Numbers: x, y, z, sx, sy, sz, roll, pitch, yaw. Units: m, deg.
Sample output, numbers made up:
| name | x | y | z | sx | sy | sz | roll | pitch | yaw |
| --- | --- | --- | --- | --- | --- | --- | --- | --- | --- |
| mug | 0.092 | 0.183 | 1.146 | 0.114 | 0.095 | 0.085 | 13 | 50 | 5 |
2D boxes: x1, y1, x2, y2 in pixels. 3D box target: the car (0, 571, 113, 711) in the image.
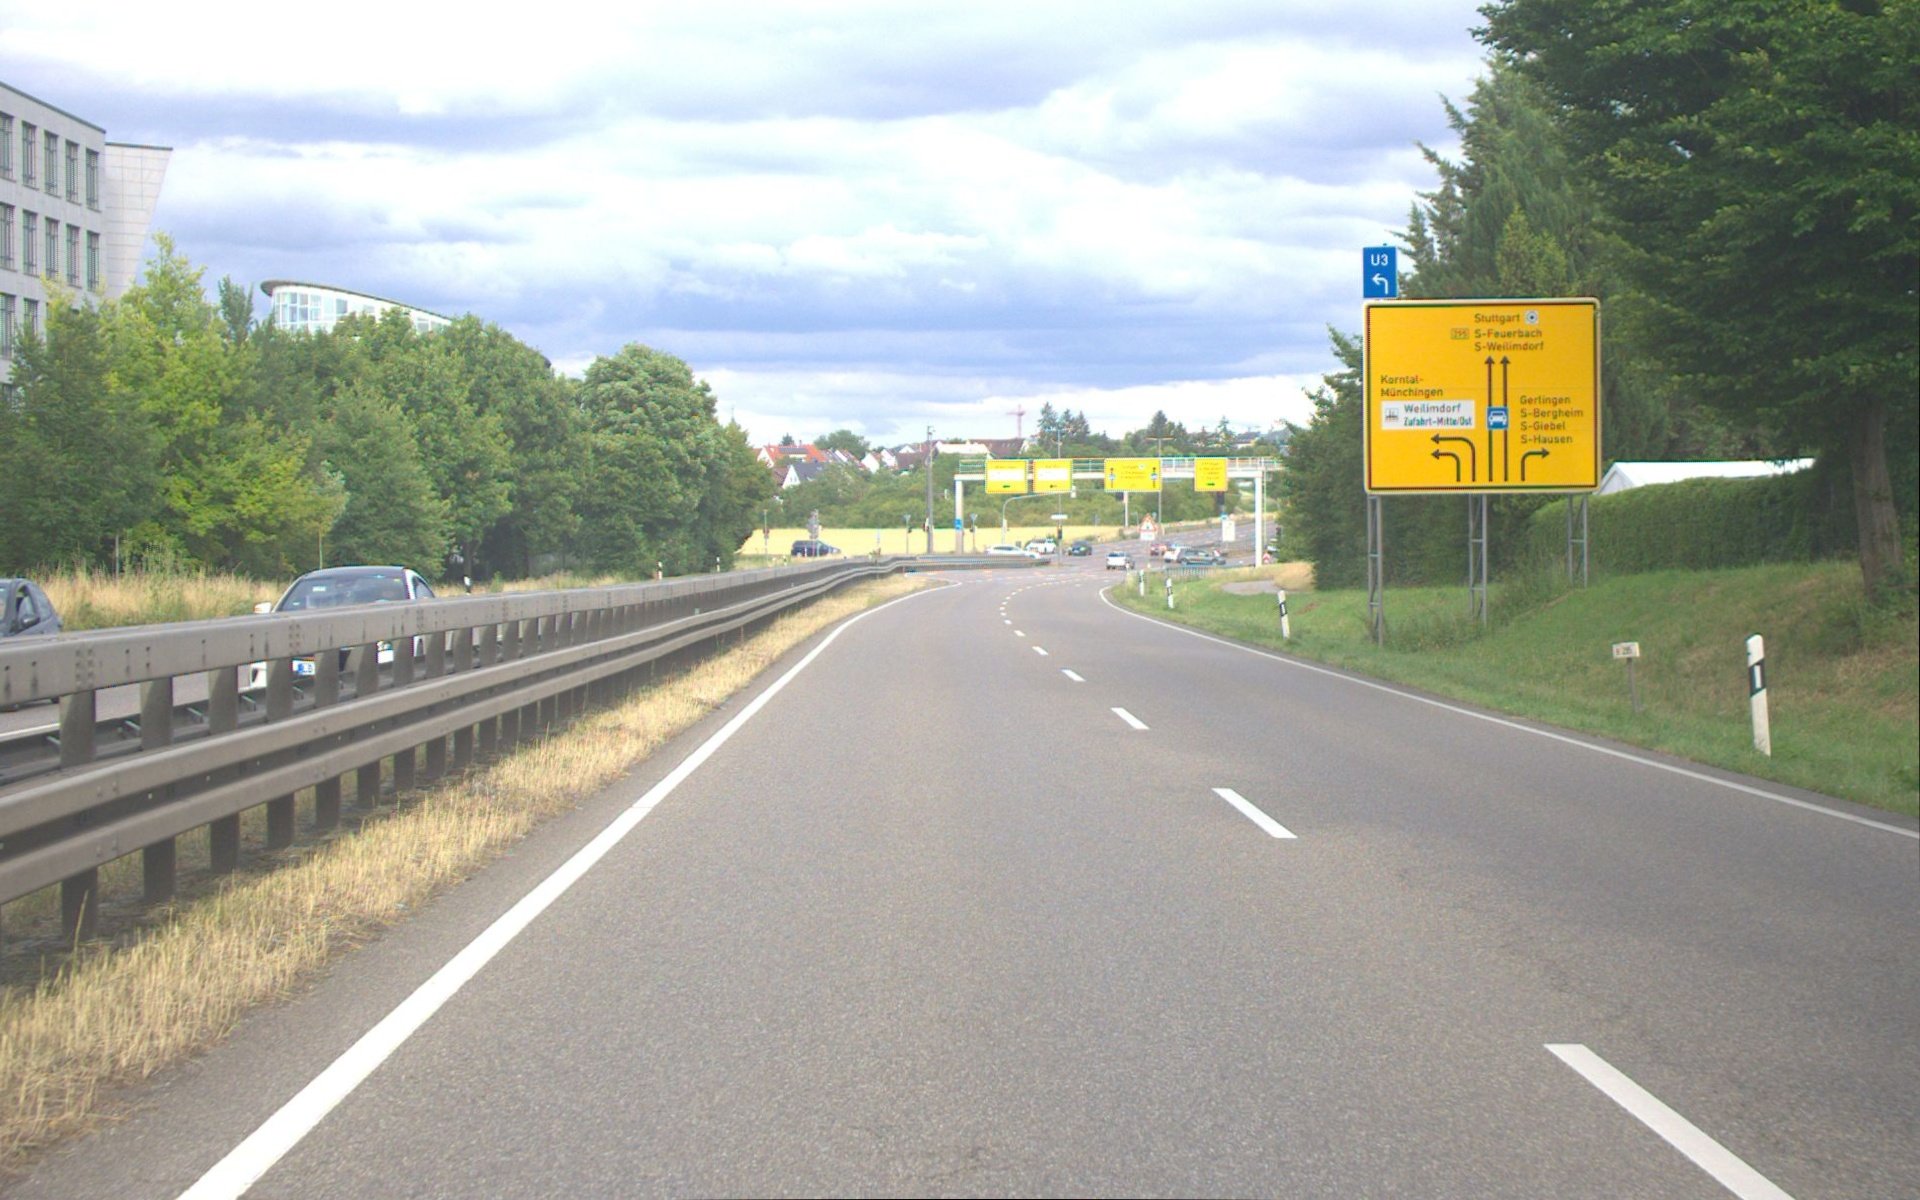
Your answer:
| name | x | y | z | sx | sy | sz | roll | pitch | yaw |
| --- | --- | --- | --- | --- | --- | --- | --- | --- | --- |
| car | -10.805 | 0.416 | 37.965 | 1.756 | 1.417 | 4.566 | -1 | 1 | 0 |

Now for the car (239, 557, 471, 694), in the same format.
| name | x | y | z | sx | sy | sz | roll | pitch | yaw |
| --- | --- | --- | --- | --- | --- | --- | --- | --- | --- |
| car | -6.603 | 0.240 | 37.974 | 1.834 | 1.374 | 4.567 | -1 | 1 | -1 |
